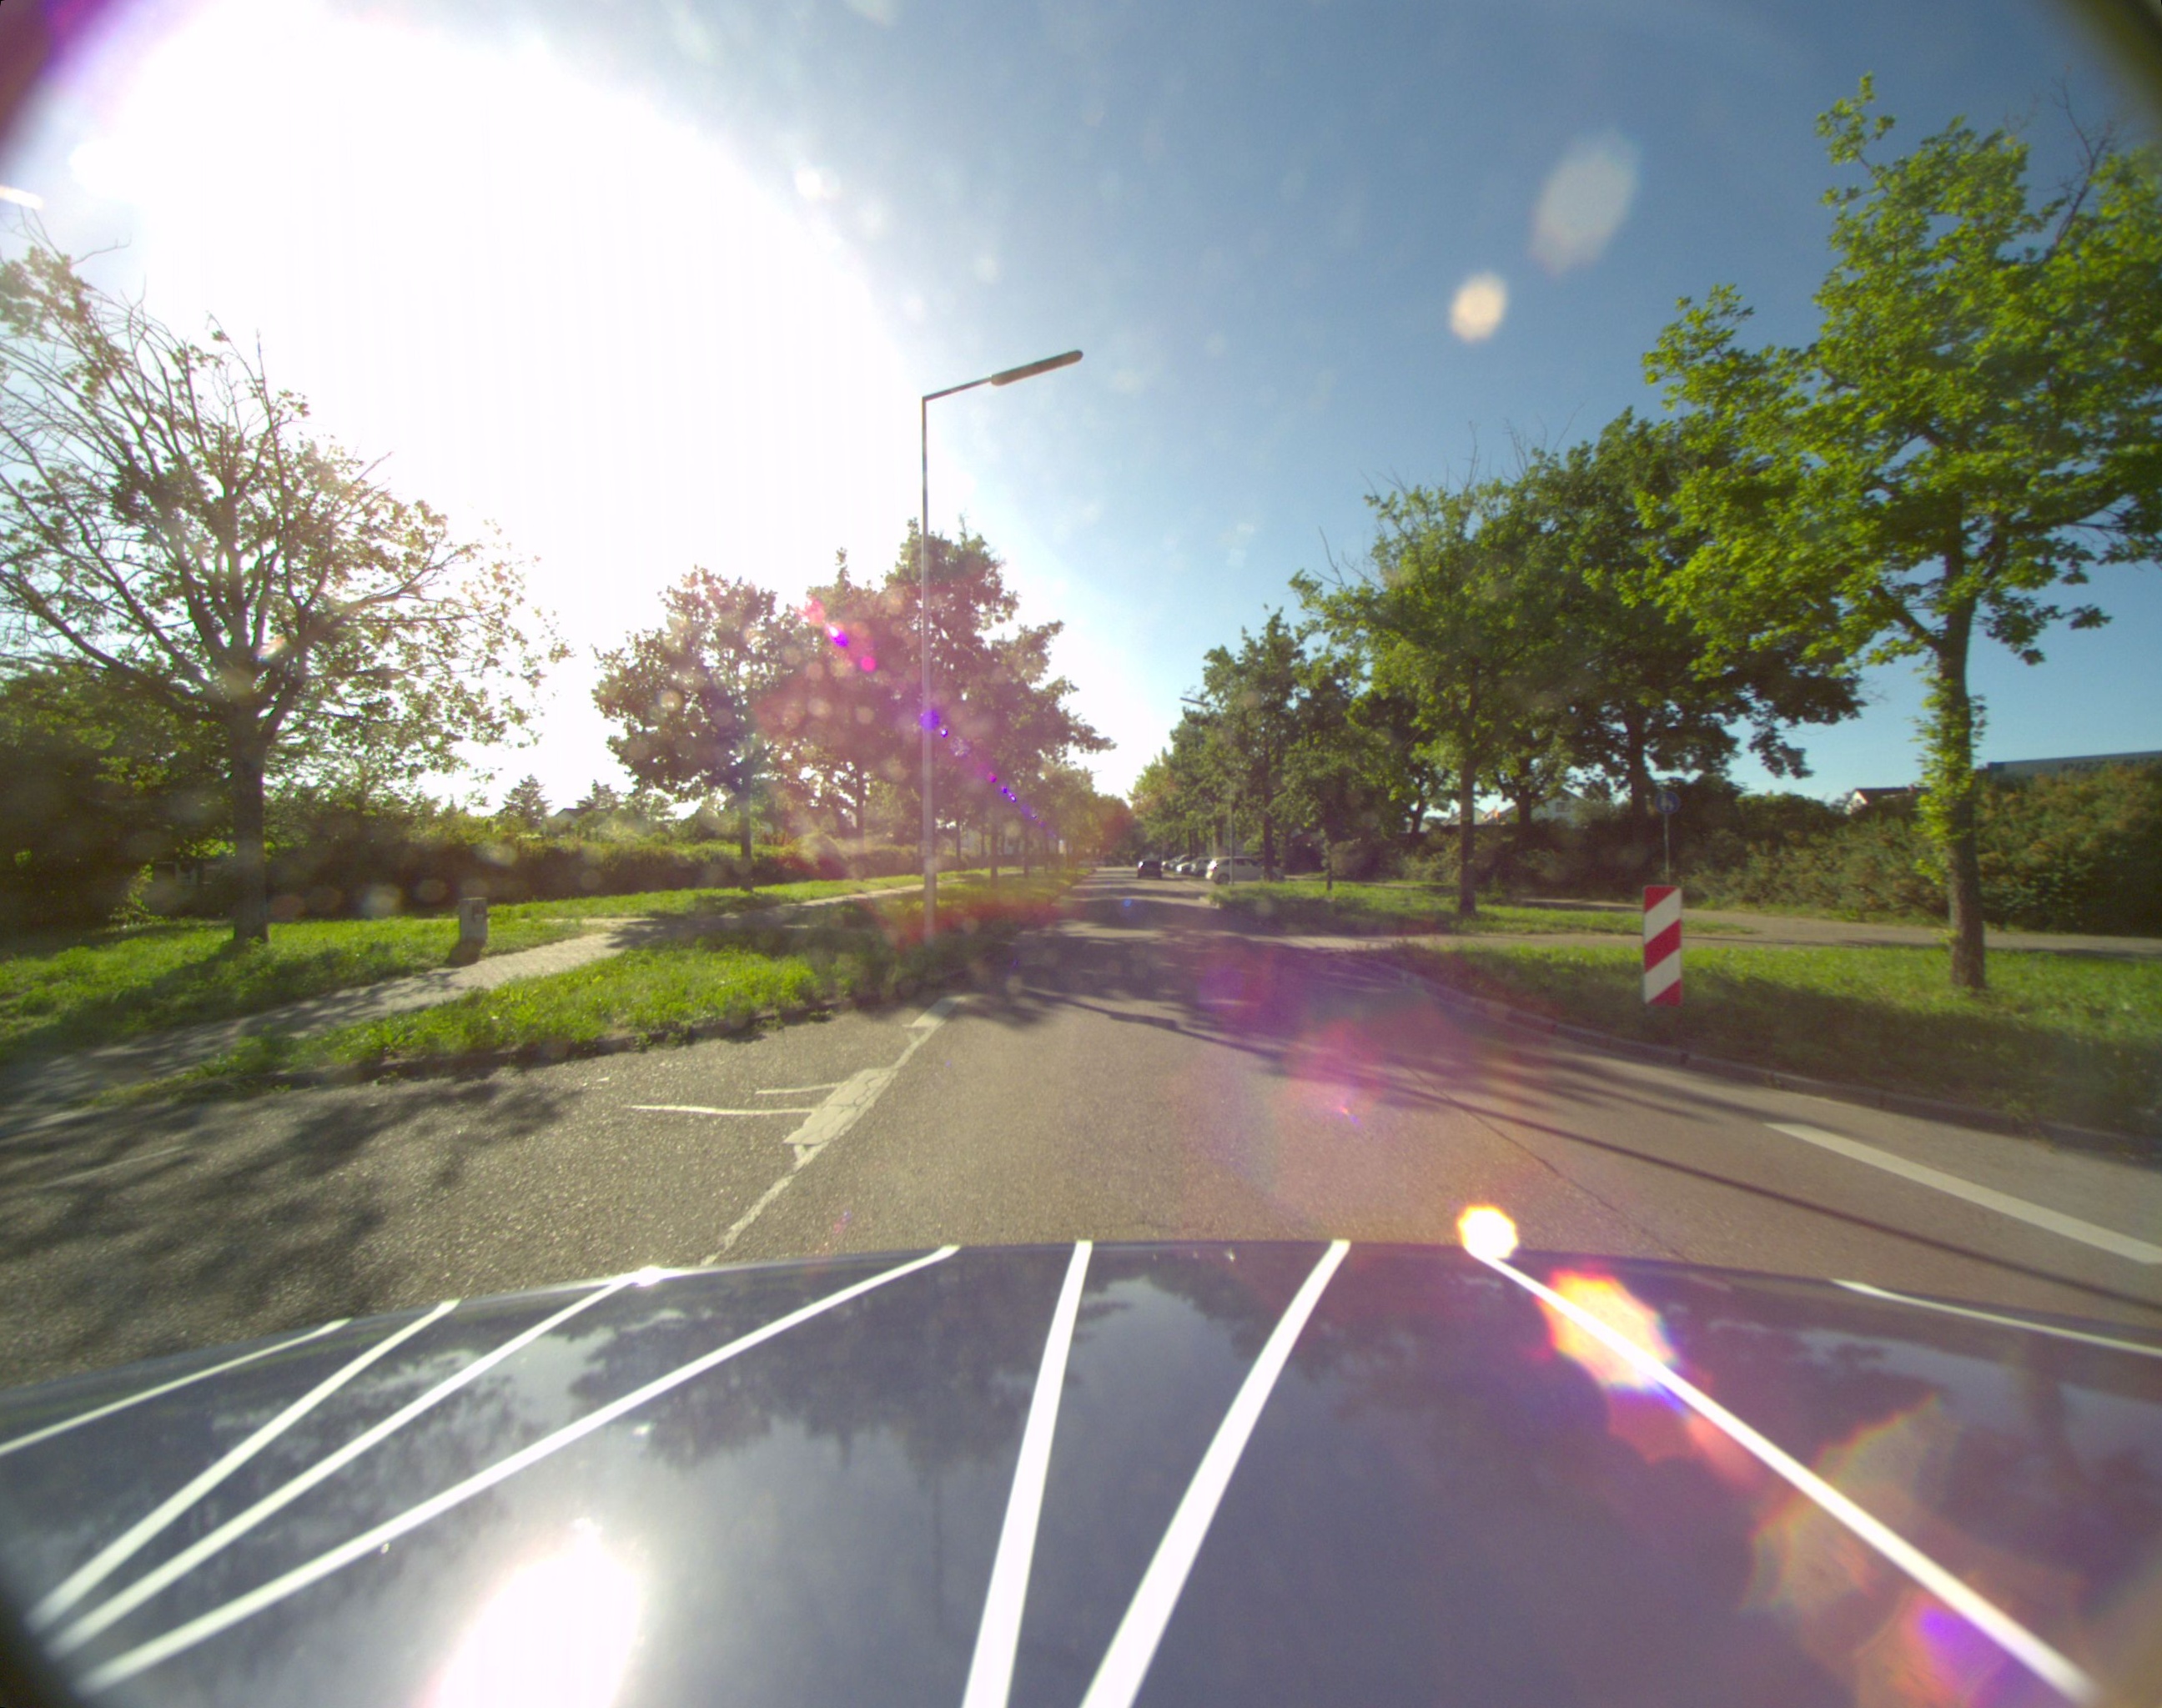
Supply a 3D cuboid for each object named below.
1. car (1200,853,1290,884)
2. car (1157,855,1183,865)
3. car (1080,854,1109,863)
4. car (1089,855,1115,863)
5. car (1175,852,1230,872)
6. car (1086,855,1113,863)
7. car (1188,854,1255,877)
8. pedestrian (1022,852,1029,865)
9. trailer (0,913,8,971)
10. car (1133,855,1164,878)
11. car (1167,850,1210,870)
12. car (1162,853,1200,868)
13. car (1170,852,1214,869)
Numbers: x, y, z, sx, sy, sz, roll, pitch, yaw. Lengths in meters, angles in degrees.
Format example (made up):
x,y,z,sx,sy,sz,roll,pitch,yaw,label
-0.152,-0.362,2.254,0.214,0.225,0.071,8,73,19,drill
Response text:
x,y,z,sx,sy,sz,roll,pitch,yaw,label
9.381,0.820,43.680,4.638,1.549,2.191,-2,0,-1,car
13.990,0.918,119.027,4.033,1.470,1.943,0,0,9,car
2.236,0.718,121.134,4.510,1.470,1.942,0,0,4,car
3.763,0.891,134.777,4.510,1.470,1.942,0,0,4,car
10.310,0.703,64.647,4.422,1.547,2.089,-2,0,4,car
3.161,0.832,129.760,4.510,1.470,1.942,0,0,4,car
10.023,0.804,54.364,4.423,1.502,2.088,-2,0,2,car
-8.156,0.615,111.419,0.868,1.855,0.666,0,0,6,pedestrian
-17.235,1.395,10.632,1.581,0.863,2.055,0,4,13,trailer
4.908,0.894,55.664,1.770,1.520,4.495,1,0,-1,car
11.266,0.612,79.913,4.237,1.872,1.999,-2,0,2,car
11.168,0.727,85.314,4.072,1.633,1.877,-2,0,5,car
10.857,0.630,74.692,4.145,1.547,1.866,-2,0,4,car
